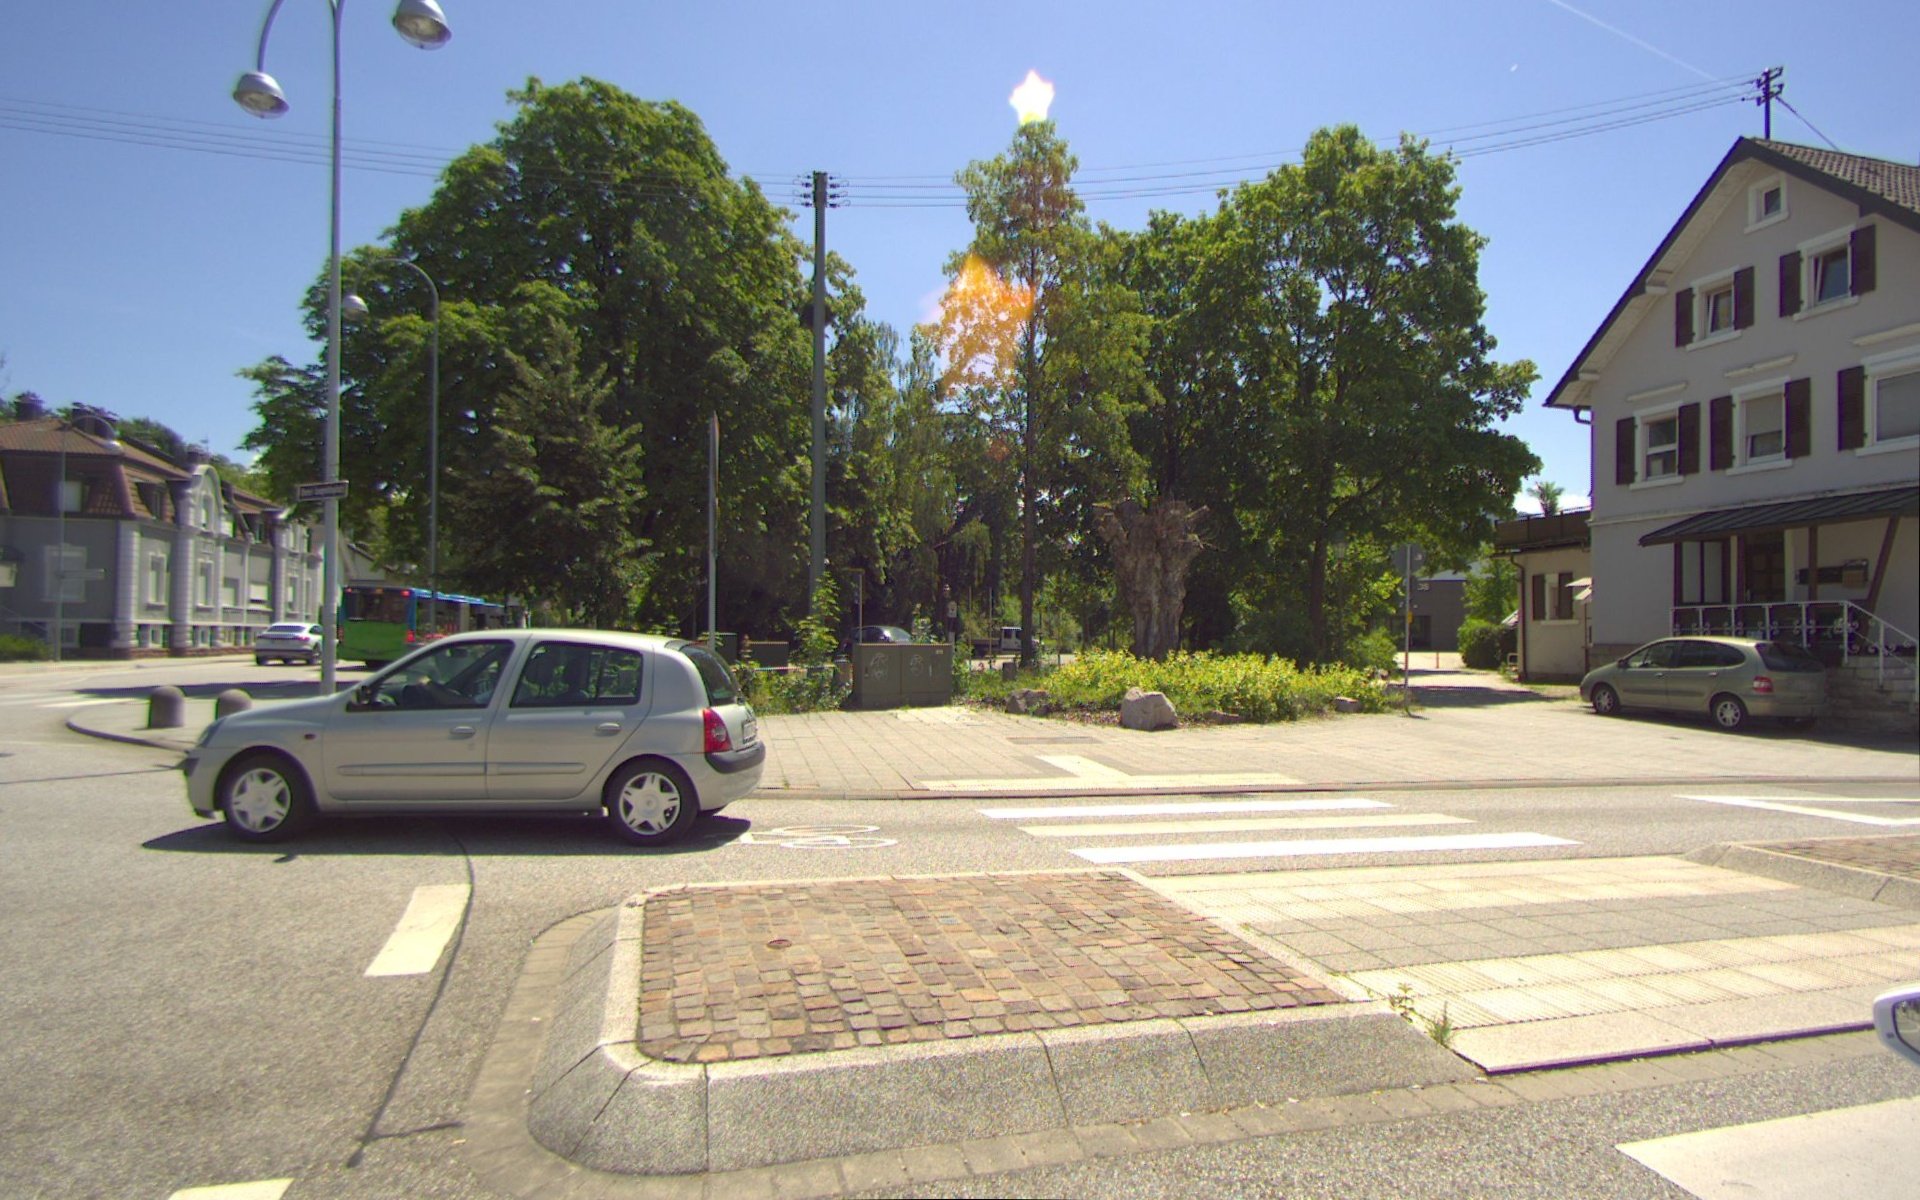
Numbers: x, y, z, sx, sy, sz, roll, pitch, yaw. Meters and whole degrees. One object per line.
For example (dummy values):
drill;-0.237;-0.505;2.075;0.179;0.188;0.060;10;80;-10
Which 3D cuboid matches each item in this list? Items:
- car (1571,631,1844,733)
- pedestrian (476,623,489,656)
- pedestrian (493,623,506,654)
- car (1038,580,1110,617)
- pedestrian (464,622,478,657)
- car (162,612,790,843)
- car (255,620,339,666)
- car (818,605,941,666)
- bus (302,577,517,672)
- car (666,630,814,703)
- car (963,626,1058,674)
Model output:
car;13.893;1.454;18.991;1.728;1.661;3.990;1;-1;-13
pedestrian;-22.682;1.876;47.674;0.483;1.542;0.540;1;-1;-21
pedestrian;-21.608;1.810;47.158;0.484;1.473;0.528;1;-1;-22
car;6.500;-0.047;57.156;3.919;2.040;2.001;0;-1;10
pedestrian;-23.109;1.861;47.489;0.496;1.672;0.577;1;-1;-22
car;-3.148;0.862;7.129;3.647;1.431;1.550;1;-4;-3
car;-25.773;1.660;39.190;1.877;1.684;4.386;1;-2;-23
car;-2.855;1.205;35.339;3.933;2.040;1.994;0;-2;34
bus;-23.419;1.194;44.563;3.656;3.212;18.022;3;-3;-14
car;-5.113;1.496;23.336;3.023;1.573;1.621;1;-1;-30
car;2.252;2.241;45.352;3.928;2.040;1.997;1;-1;-10
